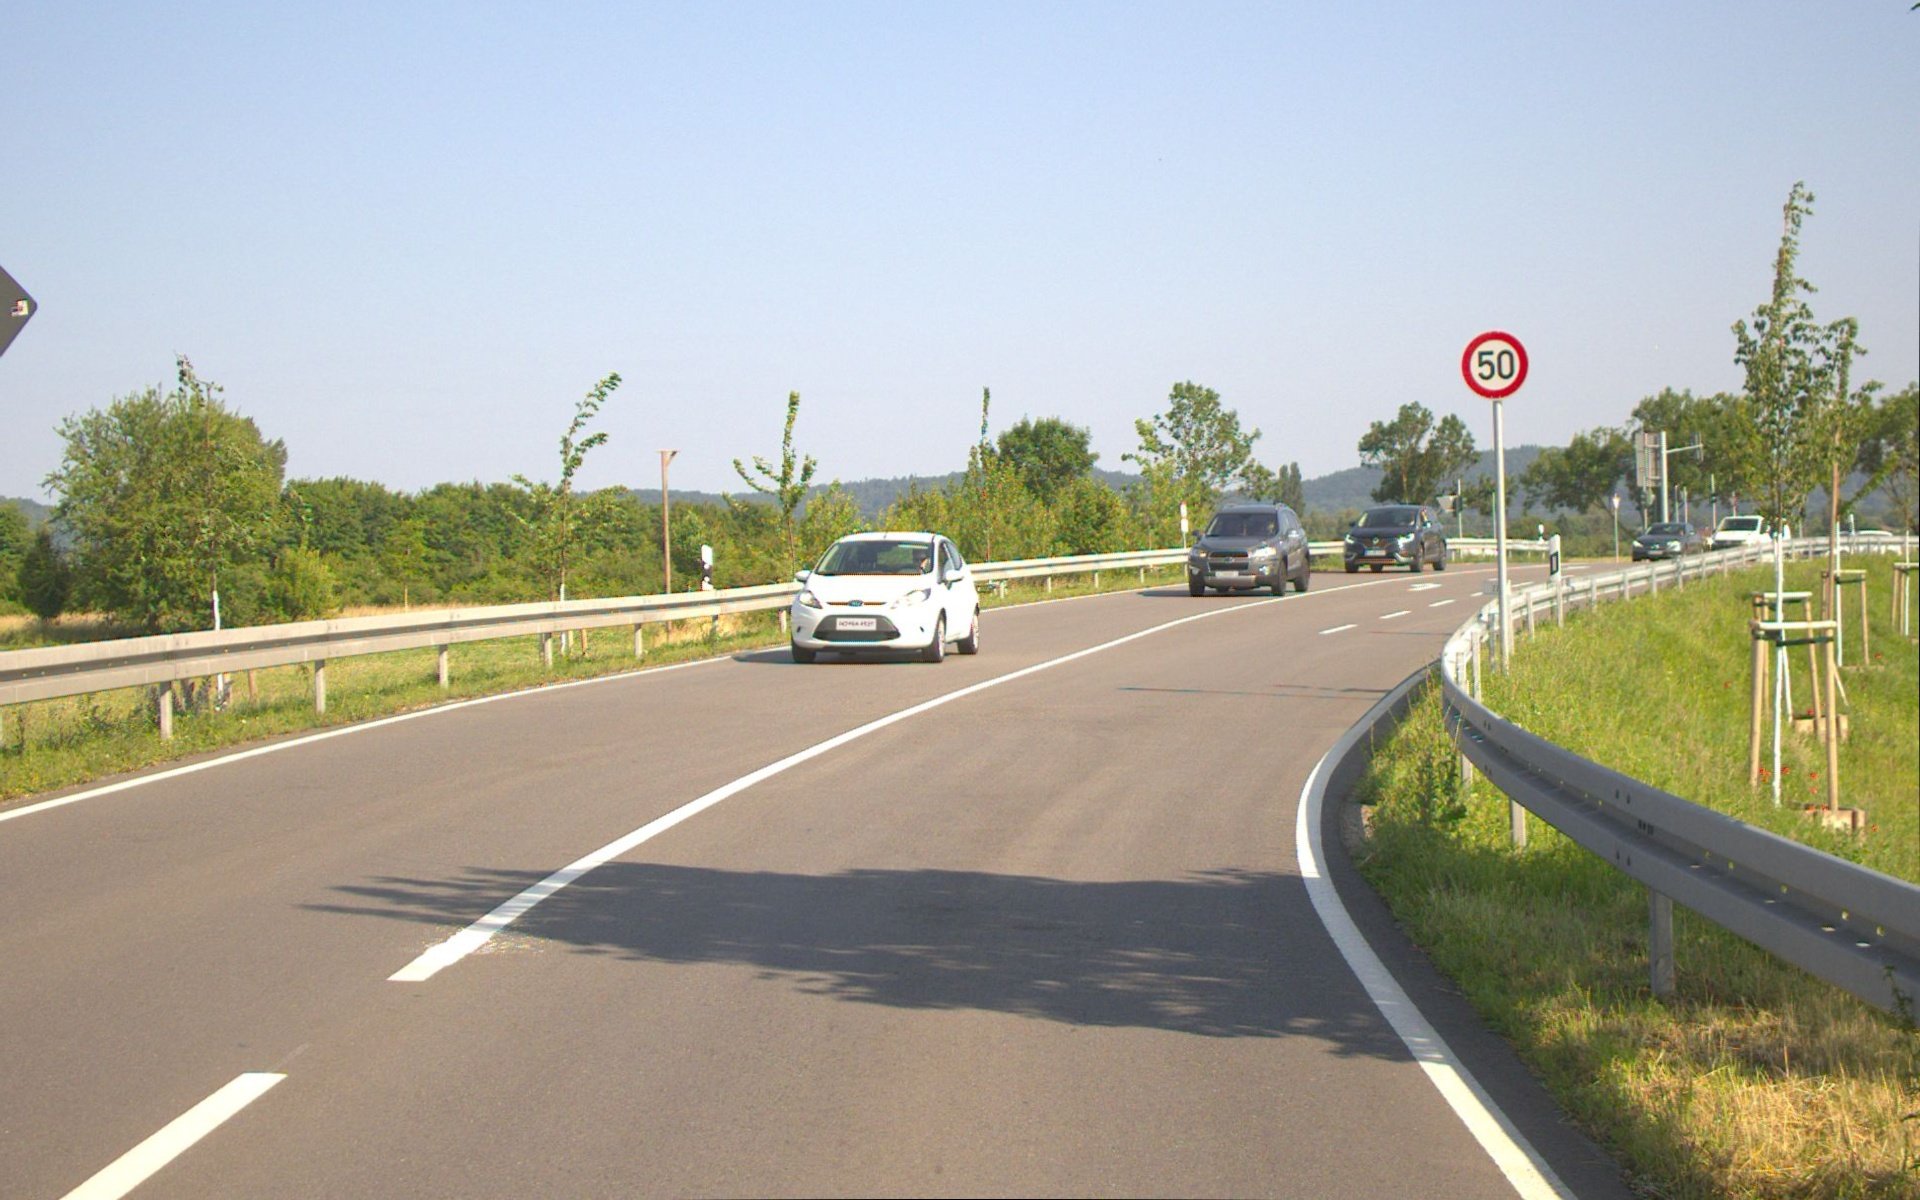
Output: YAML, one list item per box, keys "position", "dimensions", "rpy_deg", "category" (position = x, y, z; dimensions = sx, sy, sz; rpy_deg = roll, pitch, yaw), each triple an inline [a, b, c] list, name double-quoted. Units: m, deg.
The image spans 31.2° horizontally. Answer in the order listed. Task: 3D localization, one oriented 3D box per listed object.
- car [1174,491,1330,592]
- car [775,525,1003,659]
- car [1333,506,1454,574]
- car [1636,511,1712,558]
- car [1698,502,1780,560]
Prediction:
- position: [5.700, -1.105, 66.533]
  dimensions: [1.884, 1.792, 5.087]
  rpy_deg: [1, -1, 18]
  category: "car"
- position: [-0.758, -0.114, 39.637]
  dimensions: [1.854, 1.444, 4.152]
  rpy_deg: [1, 1, 10]
  category: "car"
- position: [10.884, -1.522, 86.000]
  dimensions: [1.995, 1.587, 4.859]
  rpy_deg: [1, 2, 20]
  category: "car"
- position: [25.306, -2.337, 121.772]
  dimensions: [1.796, 1.443, 4.701]
  rpy_deg: [1, 4, 22]
  category: "car"
- position: [30.337, -2.711, 133.849]
  dimensions: [2.117, 2.006, 5.148]
  rpy_deg: [1, 4, 24]
  category: "car"
